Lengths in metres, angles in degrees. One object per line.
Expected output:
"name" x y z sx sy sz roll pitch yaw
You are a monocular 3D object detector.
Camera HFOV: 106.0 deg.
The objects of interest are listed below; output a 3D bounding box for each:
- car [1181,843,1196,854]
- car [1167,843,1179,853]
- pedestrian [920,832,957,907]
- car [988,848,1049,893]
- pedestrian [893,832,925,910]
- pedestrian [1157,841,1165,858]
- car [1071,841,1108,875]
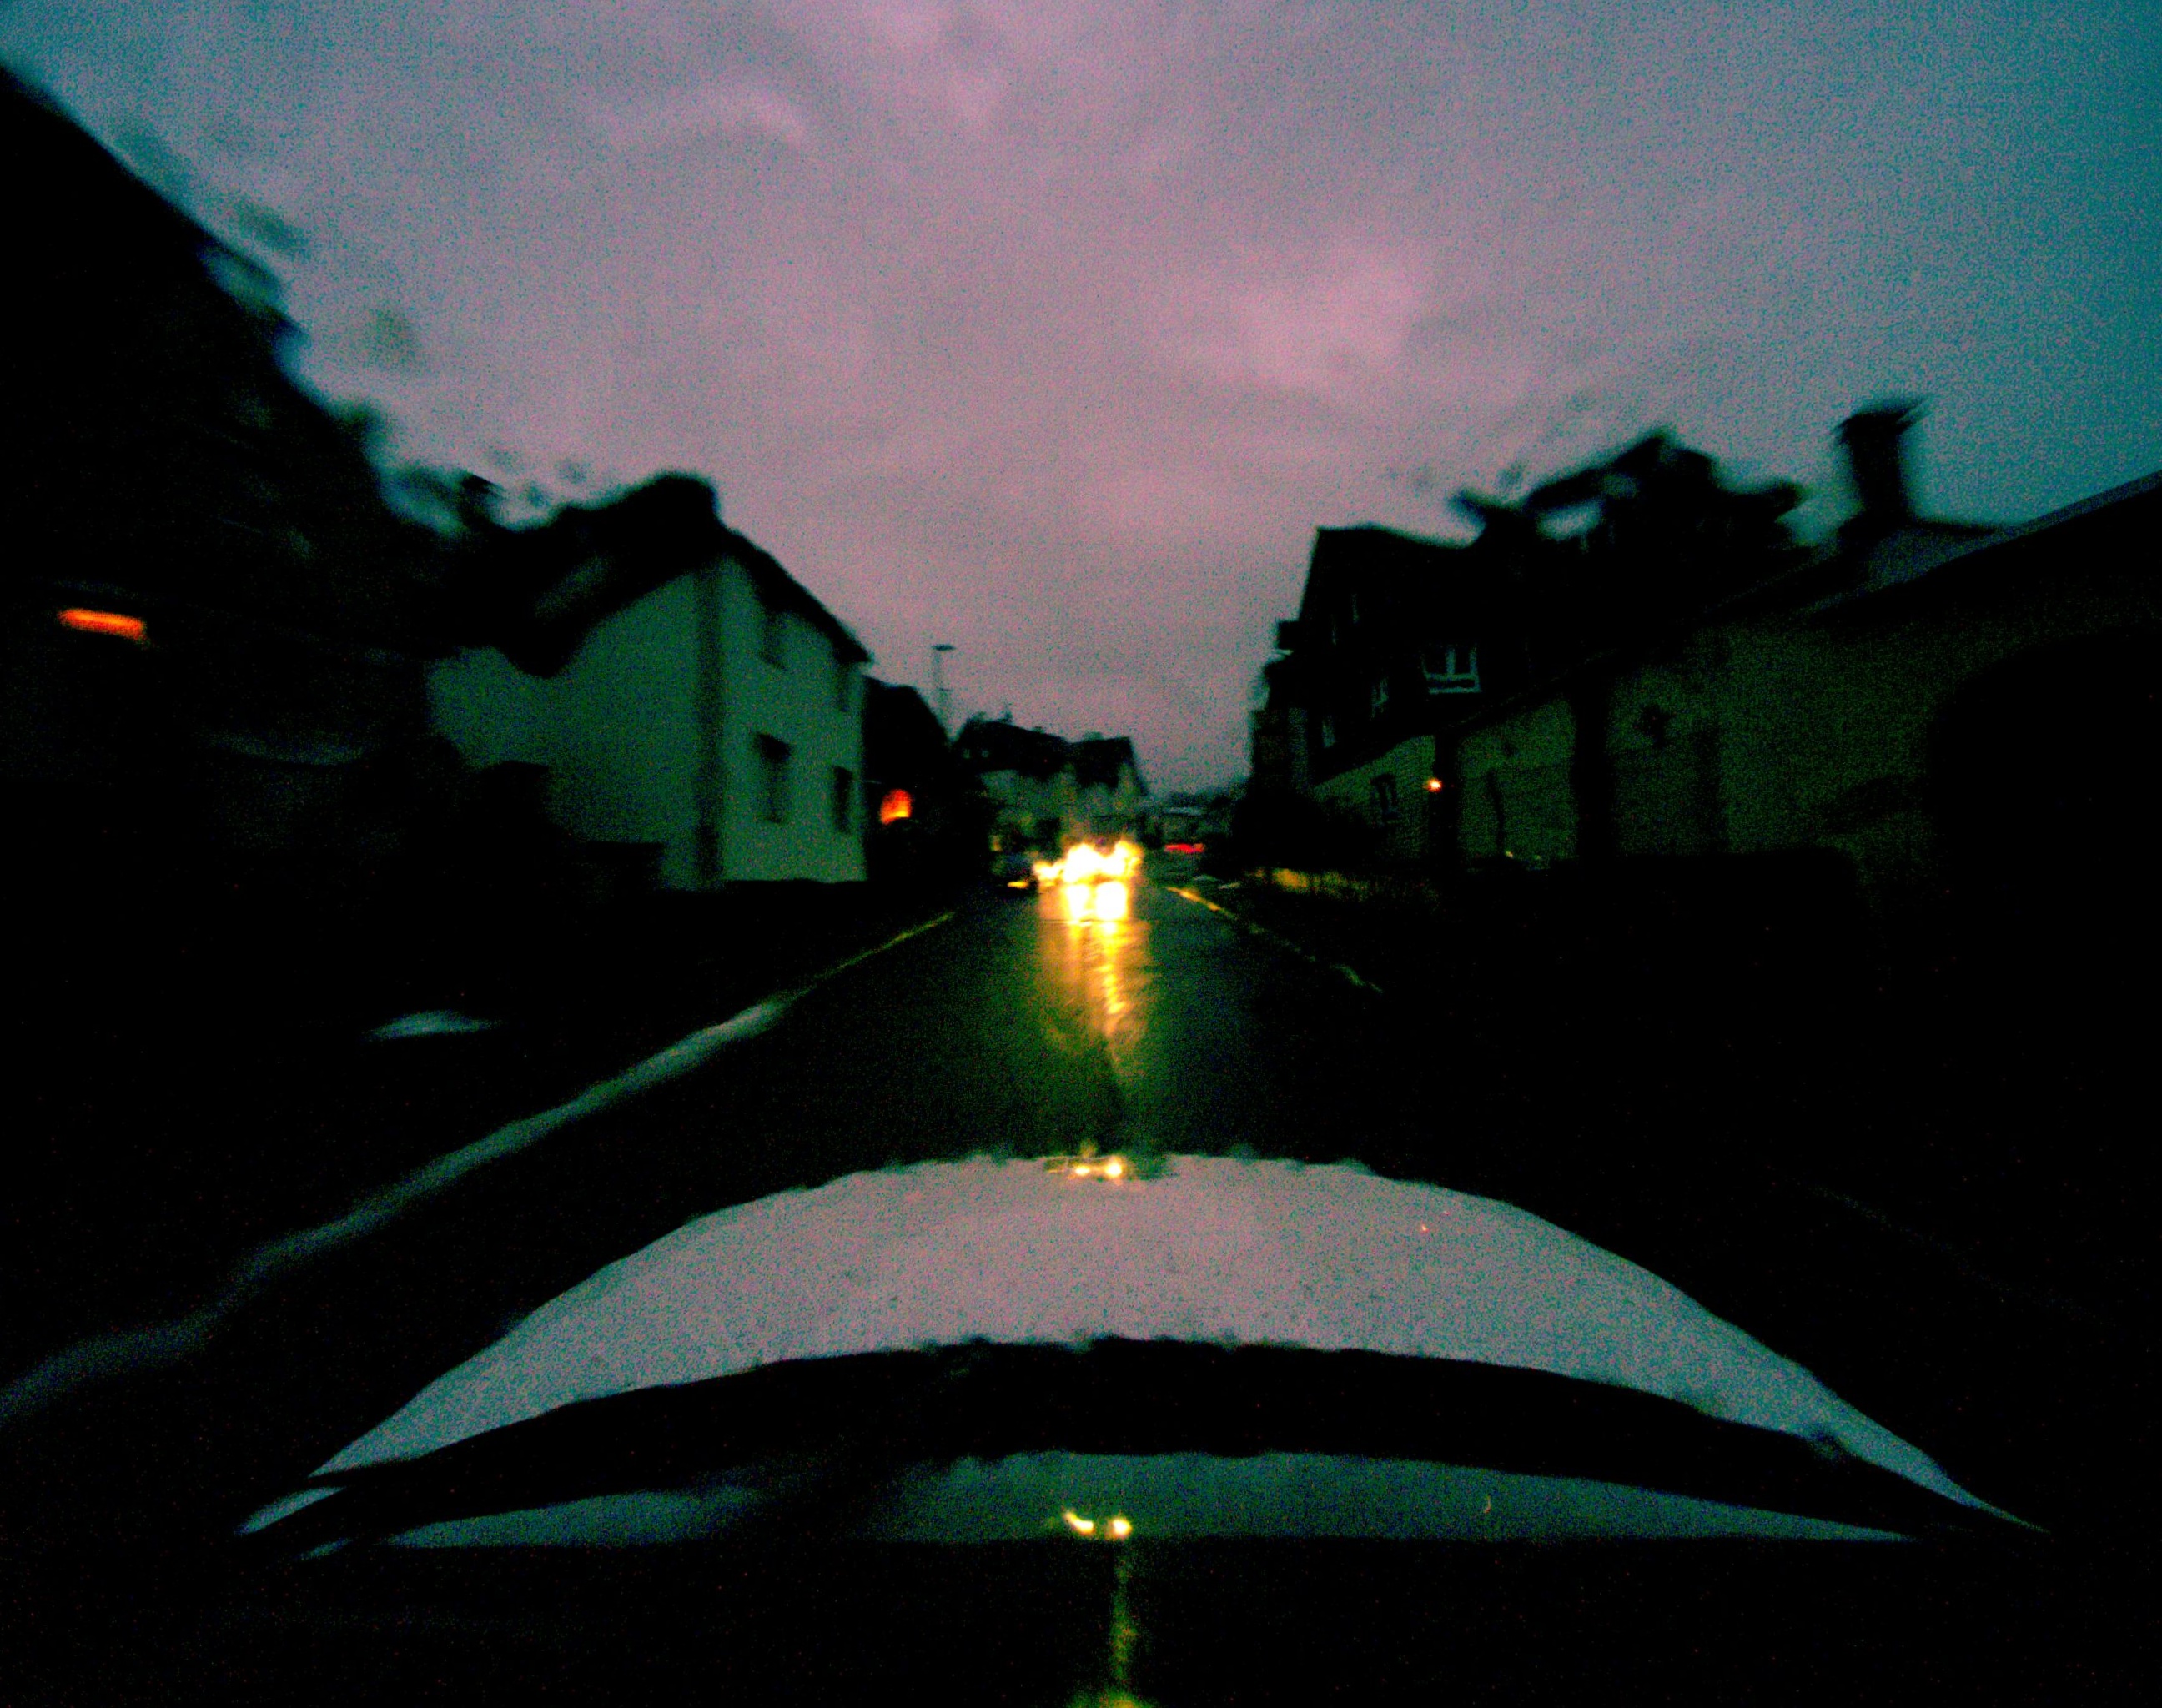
"car" 16.229 -0.793 122.784 1.981 1.618 4.012 0 -1 11
"car" 15.870 -1.079 140.952 1.984 1.618 4.004 0 -1 4
"pedestrian" -3.457 0.366 19.805 0.703 1.779 0.812 1 -1 0
"car" -2.171 0.538 29.192 1.817 1.440 4.067 -1 0 0
"pedestrian" -4.223 0.420 20.057 0.596 1.869 0.812 -1 -1 0
"pedestrian" 8.507 -0.467 86.757 0.593 1.733 0.816 -1 -1 20
"car" 0.469 0.211 40.571 1.751 1.581 4.001 -1 -1 2
